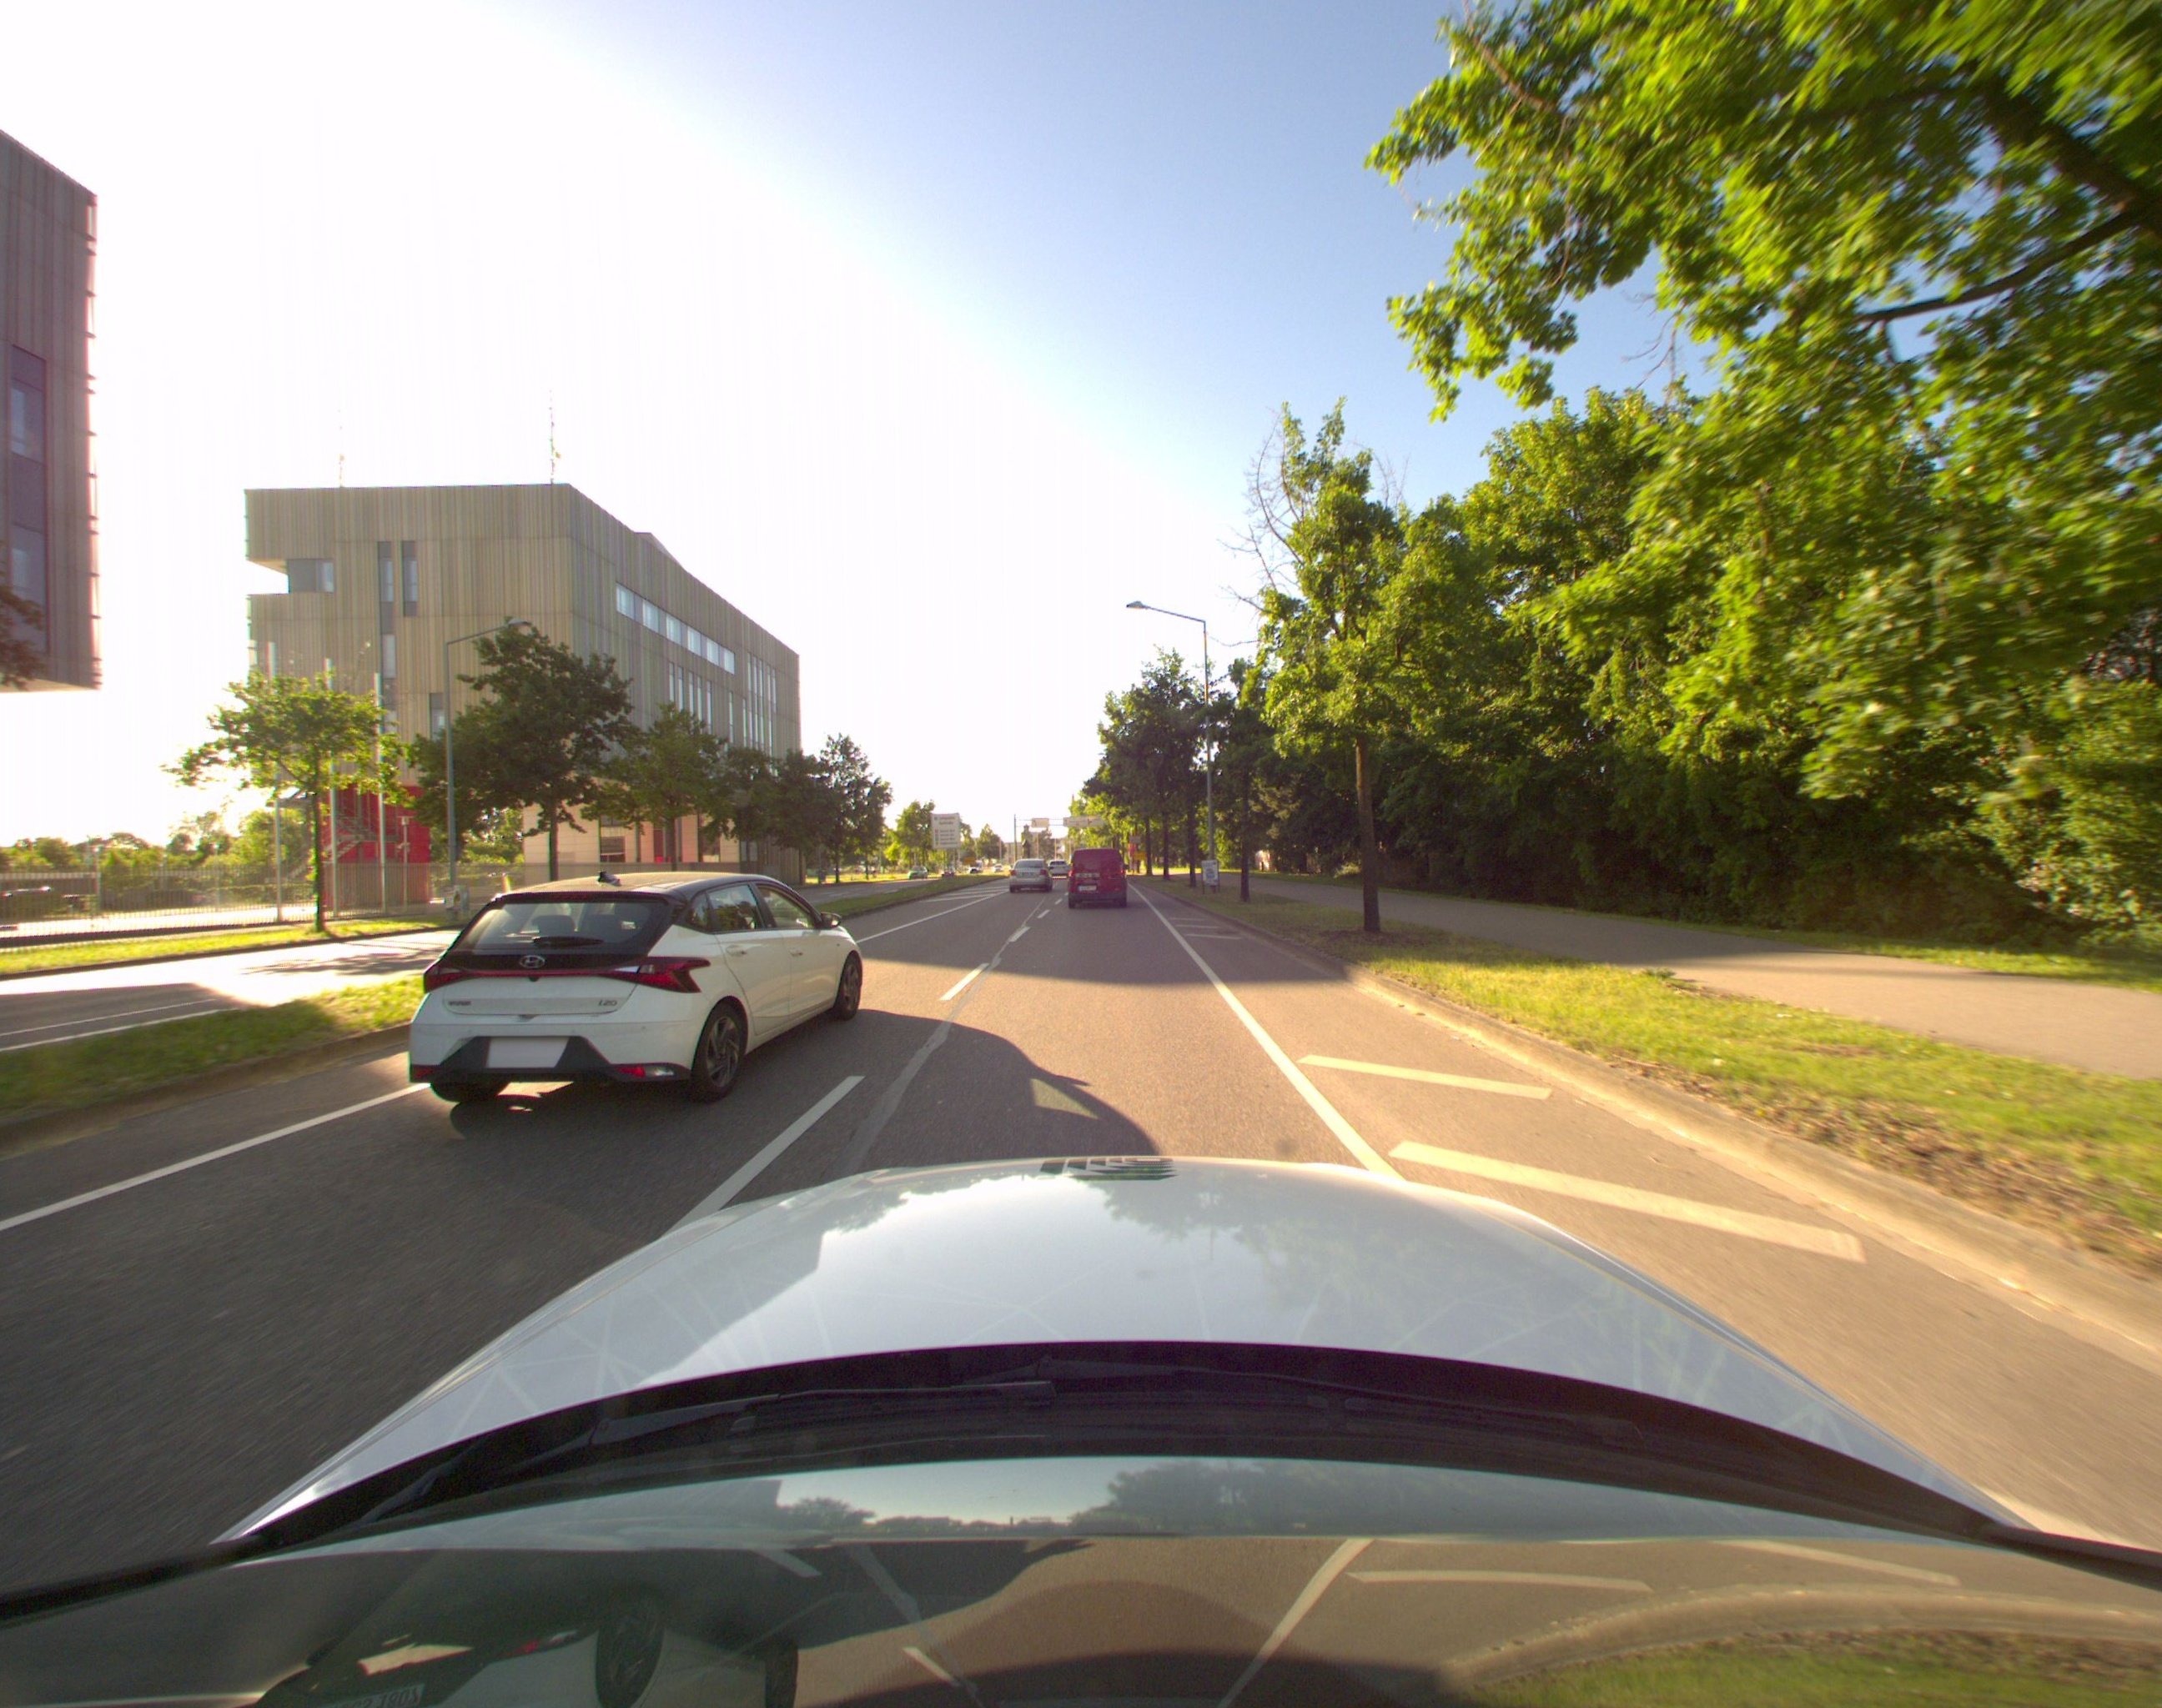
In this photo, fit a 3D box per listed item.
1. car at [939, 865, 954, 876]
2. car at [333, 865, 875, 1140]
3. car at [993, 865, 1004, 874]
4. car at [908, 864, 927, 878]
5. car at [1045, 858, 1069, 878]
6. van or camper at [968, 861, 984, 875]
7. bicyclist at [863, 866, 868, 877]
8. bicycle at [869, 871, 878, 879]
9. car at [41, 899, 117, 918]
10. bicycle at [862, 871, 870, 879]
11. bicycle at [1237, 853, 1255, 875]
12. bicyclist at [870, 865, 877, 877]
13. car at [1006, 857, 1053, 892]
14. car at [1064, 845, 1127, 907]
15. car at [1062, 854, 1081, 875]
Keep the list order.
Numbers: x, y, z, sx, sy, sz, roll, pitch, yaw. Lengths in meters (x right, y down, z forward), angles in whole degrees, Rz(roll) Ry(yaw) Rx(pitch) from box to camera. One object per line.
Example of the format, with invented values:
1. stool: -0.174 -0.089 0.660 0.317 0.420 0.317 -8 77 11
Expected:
1. car: -19.033 2.329 115.184 1.546 1.508 4.023 -2 0 -2
2. car: -3.120 0.841 6.478 1.771 1.409 4.077 -1 0 2
3. car: -15.304 2.821 150.845 1.684 1.476 4.046 -2 0 -2
4. car: -18.110 1.925 90.321 1.442 1.436 3.457 -2 0 -2
5. car: -1.799 1.040 62.024 1.656 1.398 3.557 -2 0 -1
6. van or camper: -18.514 2.475 143.751 1.988 2.368 5.990 -3 0 -1
7. bicyclist: -27.072 2.196 102.323 0.481 1.395 0.844 -2 -1 -2
8. bicycle: -25.951 2.634 101.935 0.568 1.003 2.095 -2 -1 -1
9. car: -75.792 4.096 61.666 1.425 1.217 3.442 -2 0 0
10. bicycle: -27.055 2.674 102.390 0.485 1.003 2.095 -2 -1 -1
11. bicycle: 8.683 0.513 42.844 0.769 1.131 1.712 -2 0 7
12. bicyclist: -25.967 2.141 101.915 0.561 1.392 0.747 -2 -1 -2
13. car: -2.273 0.888 36.761 1.835 1.456 4.161 -1 0 0
14. car: 0.409 0.655 25.555 1.801 1.759 4.004 -1 0 -1
15. car: -0.833 0.950 74.703 1.656 1.856 3.557 -2 0 -1
